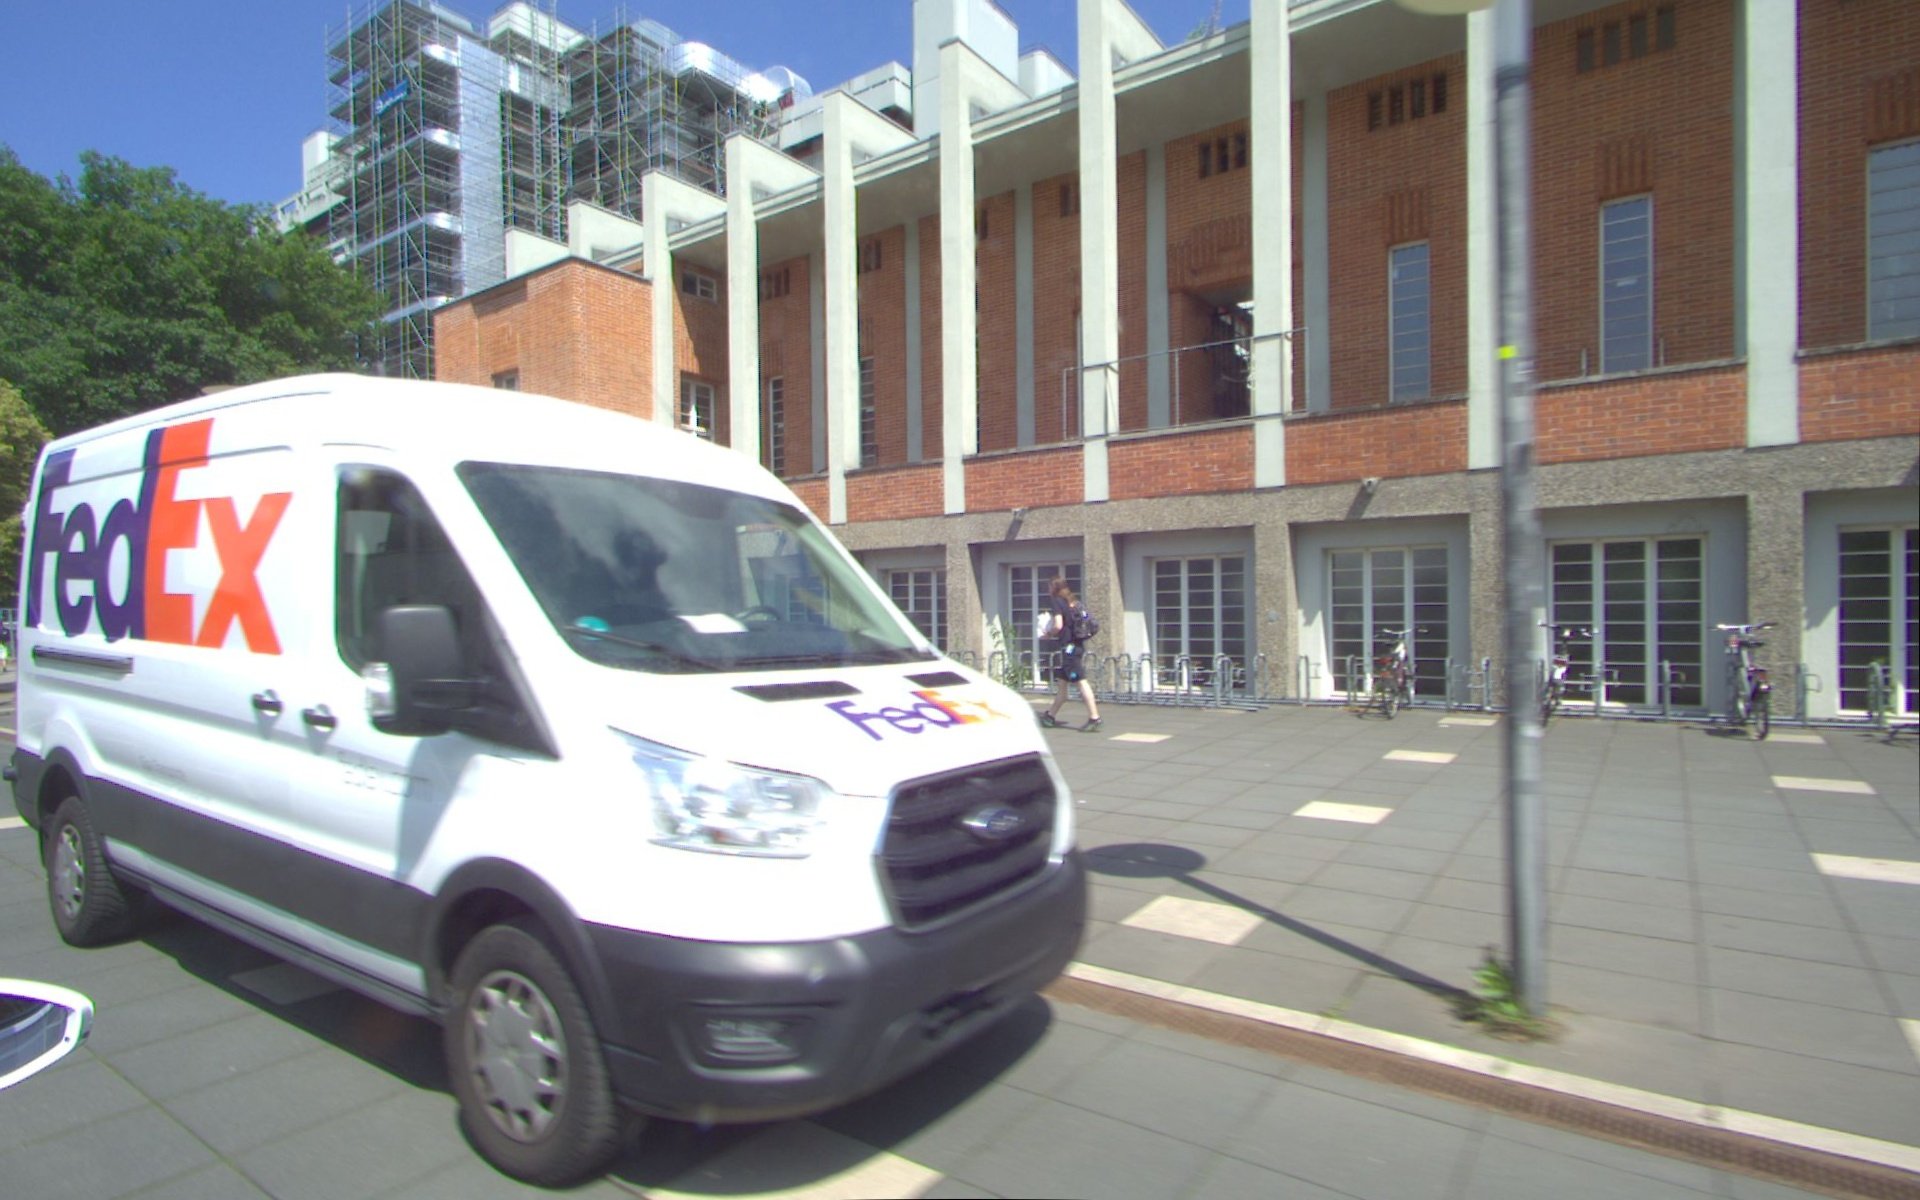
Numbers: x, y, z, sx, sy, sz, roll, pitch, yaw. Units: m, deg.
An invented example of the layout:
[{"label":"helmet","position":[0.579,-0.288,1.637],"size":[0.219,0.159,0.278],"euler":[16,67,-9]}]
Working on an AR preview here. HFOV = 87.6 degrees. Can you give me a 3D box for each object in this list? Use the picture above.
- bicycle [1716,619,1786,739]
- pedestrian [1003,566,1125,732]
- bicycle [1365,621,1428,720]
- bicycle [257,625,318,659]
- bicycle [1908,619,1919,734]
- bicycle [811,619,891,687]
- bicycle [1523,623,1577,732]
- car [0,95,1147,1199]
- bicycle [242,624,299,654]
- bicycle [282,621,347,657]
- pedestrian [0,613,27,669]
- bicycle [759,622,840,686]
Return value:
[{"label":"bicycle","position":[8.281,0.777,10.524],"size":[0.429,1.125,1.792],"euler":[0,0,34]},{"label":"pedestrian","position":[1.231,0.556,11.843],"size":[1.180,1.858,0.842],"euler":[0,1,31]},{"label":"bicycle","position":[5.484,0.844,12.530],"size":[0.429,1.125,1.678],"euler":[0,0,34]},{"label":"bicycle","position":[-23.537,1.454,35.064],"size":[0.442,1.124,1.696],"euler":[0,0,36]},{"label":"bicycle","position":[9.503,0.762,9.519],"size":[0.429,1.125,1.646],"euler":[0,0,34]},{"label":"bicycle","position":[-1.915,0.915,17.801],"size":[0.429,1.125,1.678],"euler":[0,0,34]},{"label":"bicycle","position":[6.851,0.847,11.600],"size":[0.429,1.125,1.906],"euler":[0,0,34]},{"label":"car","position":[-2.257,0.294,4.530],"size":[5.769,2.577,2.053],"euler":[-1,0,34]},{"label":"bicycle","position":[-25.241,1.418,36.676],"size":[0.442,1.016,1.666],"euler":[0,0,36]},{"label":"bicycle","position":[-21.856,1.304,33.924],"size":[0.442,1.124,1.800],"euler":[0,0,36]},{"label":"pedestrian","position":[-29.459,1.272,31.007],"size":[0.893,1.688,0.647],"euler":[-1,1,38]},{"label":"bicycle","position":[-2.990,0.990,18.845],"size":[0.429,1.125,1.742],"euler":[0,0,34]}]
